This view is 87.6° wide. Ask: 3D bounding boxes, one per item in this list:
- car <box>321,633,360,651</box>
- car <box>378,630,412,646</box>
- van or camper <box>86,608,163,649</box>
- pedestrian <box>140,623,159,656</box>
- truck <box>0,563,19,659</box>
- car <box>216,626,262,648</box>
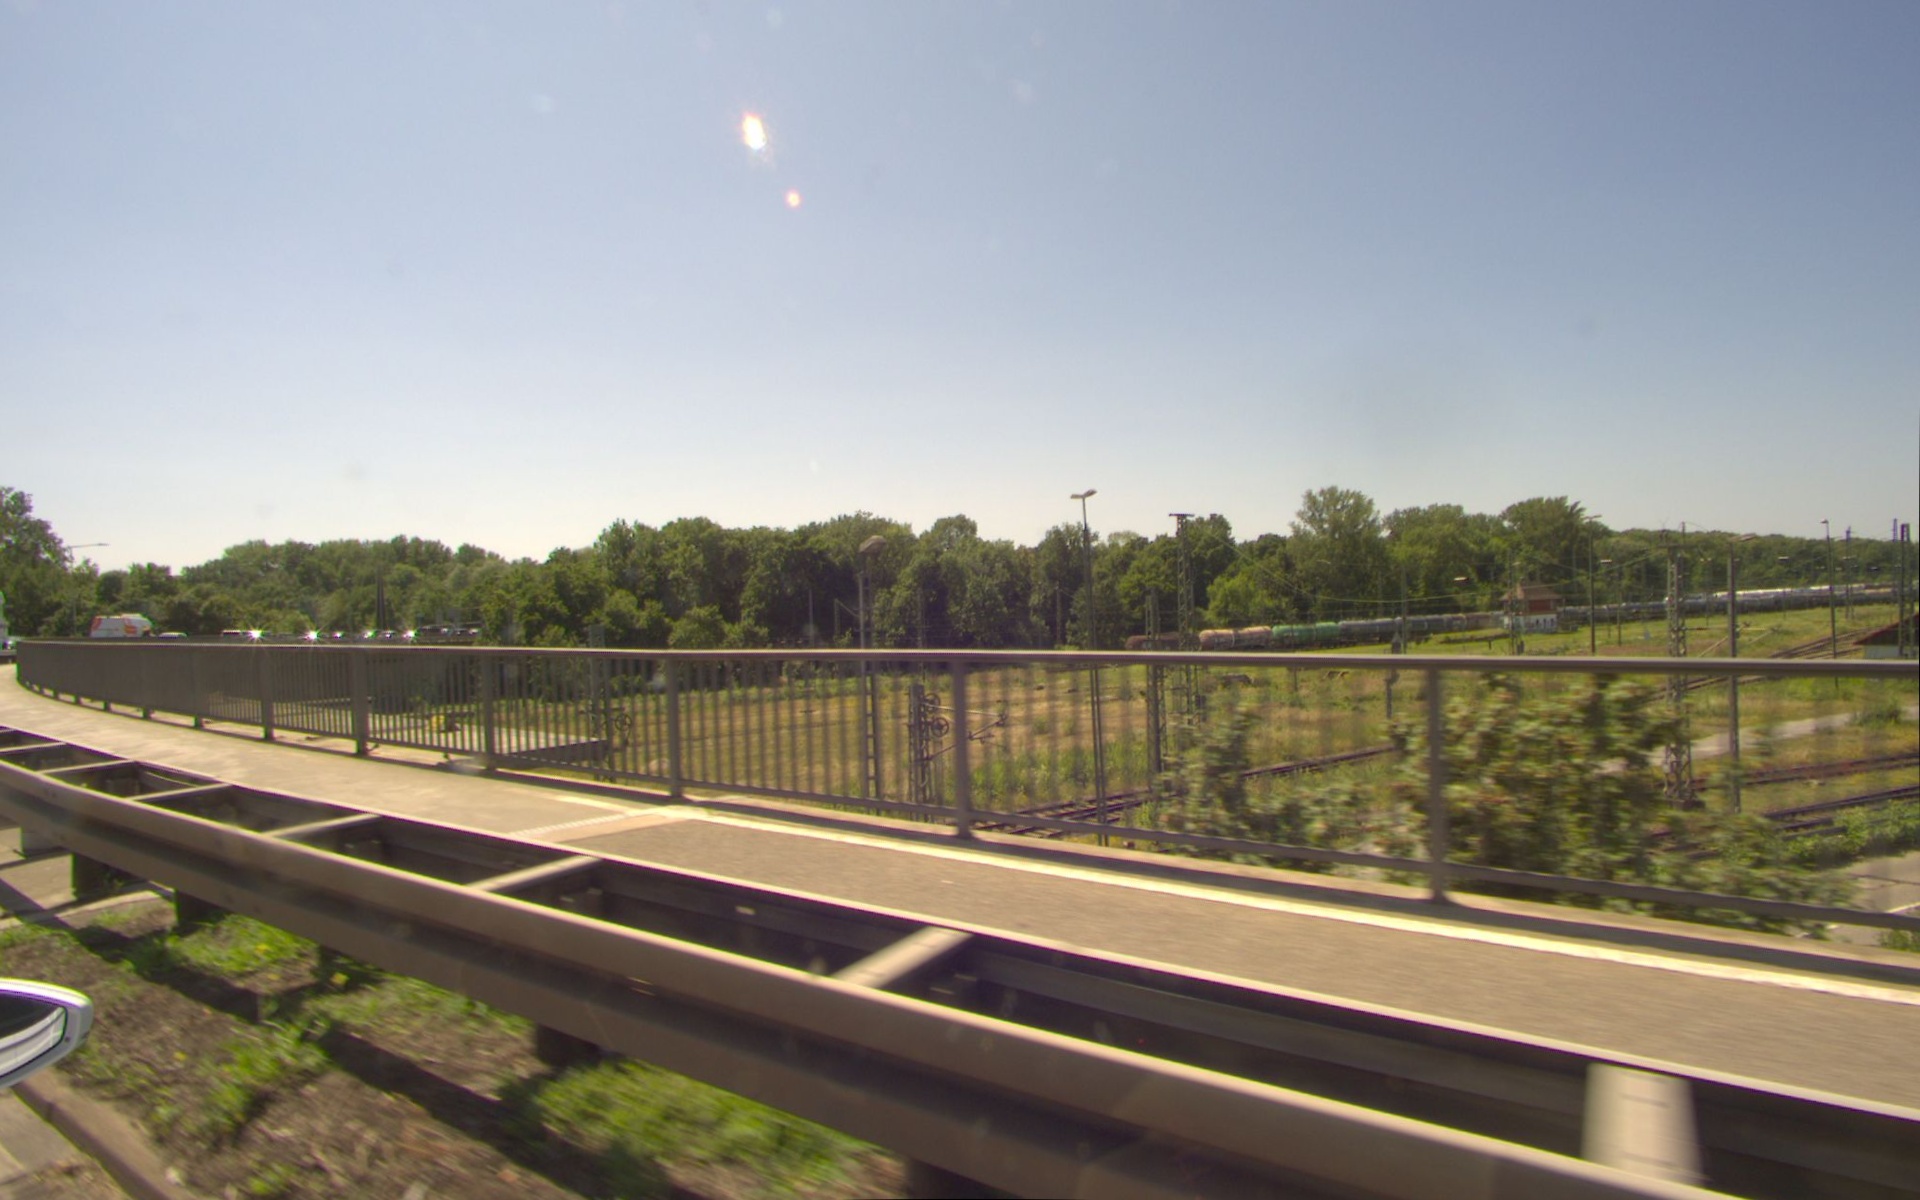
[{"bbox_3d":[-66.744,4.534,107.978,1.858,1.873,4.002,0,-2,-3],"label":"car"},{"bbox_3d":[-66.816,4.505,118.523,1.858,1.873,4.003,0,-2,-2],"label":"car"},{"bbox_3d":[-58.358,1.958,70.074,2.172,2.746,5.912,0,-1,-19],"label":"van or camper"},{"bbox_3d":[-49.401,2.398,61.045,0.728,1.992,0.732,1,-2,-26],"label":"pedestrian"},{"bbox_3d":[-47.686,0.510,47.585,3.140,4.642,7.350,1,-3,-34],"label":"truck"},{"bbox_3d":[-62.913,3.219,87.424,1.860,1.873,3.997,0,-3,-14],"label":"car"}]
